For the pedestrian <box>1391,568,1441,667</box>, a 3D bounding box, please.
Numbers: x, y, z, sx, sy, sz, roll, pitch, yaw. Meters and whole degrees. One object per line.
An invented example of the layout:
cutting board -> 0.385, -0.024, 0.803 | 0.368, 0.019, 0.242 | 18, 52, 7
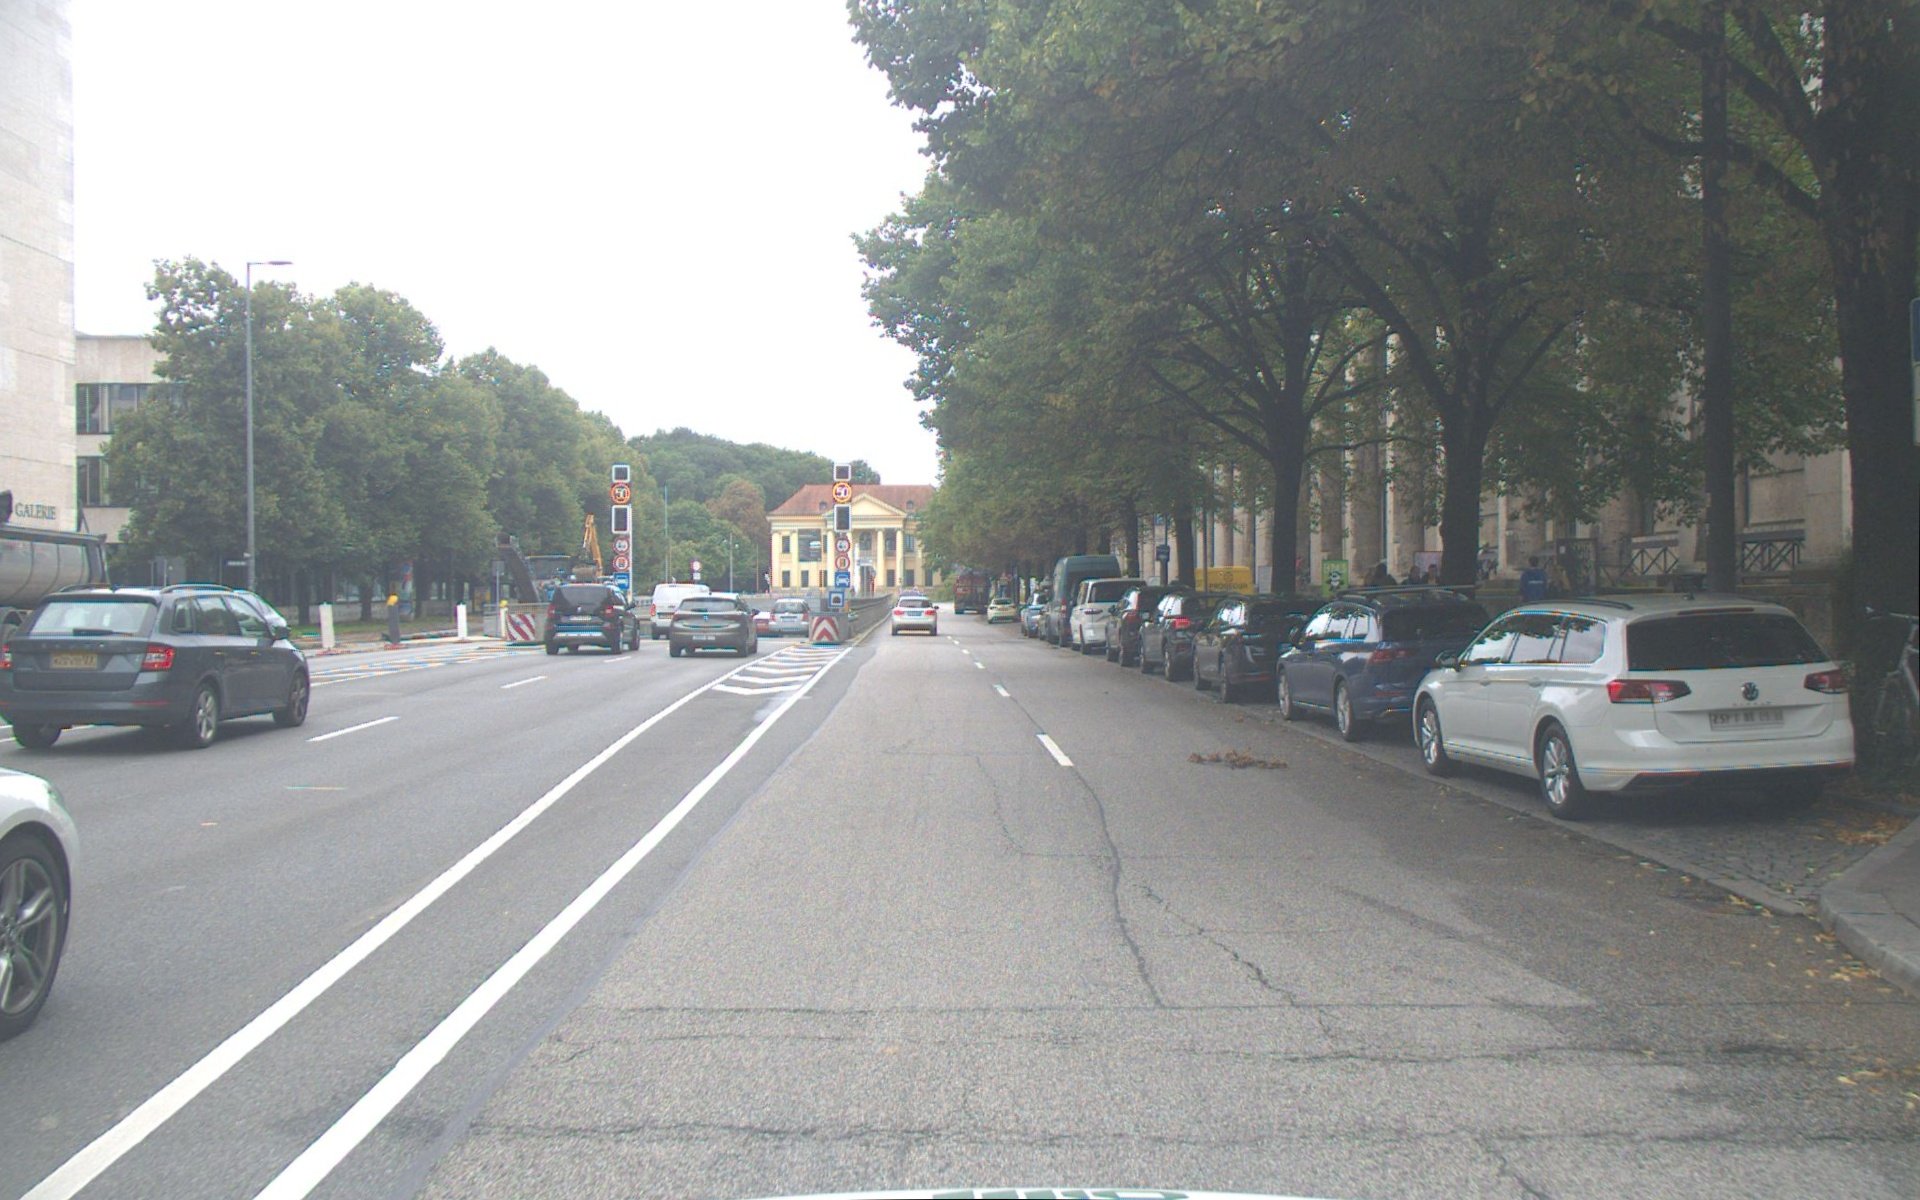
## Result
pedestrian -> 9.117, 0.342, 33.074 | 0.763, 1.943, 0.771 | 1, 0, -1

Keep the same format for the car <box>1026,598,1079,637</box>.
car -> 3.445, 0.636, 62.134 | 1.689, 1.347, 4.027 | -1, 0, -1

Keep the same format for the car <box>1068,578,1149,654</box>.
car -> 3.878, 0.390, 43.699 | 1.689, 1.900, 4.027 | -1, 0, -1

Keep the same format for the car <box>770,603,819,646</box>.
car -> -6.864, 0.979, 68.959 | 1.743, 1.683, 3.998 | 1, 0, -2

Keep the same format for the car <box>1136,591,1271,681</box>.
car -> 4.342, 0.601, 30.057 | 1.785, 1.490, 4.027 | -1, 0, -1

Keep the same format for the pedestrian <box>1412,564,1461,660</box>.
pedestrian -> 9.817, 0.236, 34.082 | 0.763, 1.943, 0.771 | 1, 0, -1

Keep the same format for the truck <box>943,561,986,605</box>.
truck -> 0.329, -1.377, 134.909 | 3.258, 3.426, 8.660 | 1, 0, -1

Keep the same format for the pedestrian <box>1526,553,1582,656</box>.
pedestrian -> 11.372, 0.085, 31.664 | 0.763, 1.943, 0.771 | 1, 0, -1

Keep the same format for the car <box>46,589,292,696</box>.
car -> -12.299, 0.590, 26.140 | 1.840, 1.491, 5.209 | -1, 0, -6

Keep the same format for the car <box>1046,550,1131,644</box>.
car -> 3.851, -0.109, 50.445 | 1.954, 2.689, 4.875 | 1, 0, -3

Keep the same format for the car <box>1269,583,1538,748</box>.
car -> 4.753, 0.629, 18.403 | 1.689, 1.577, 4.585 | -1, 0, -1

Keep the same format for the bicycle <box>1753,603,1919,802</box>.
bicycle -> 6.416, 0.664, 11.291 | 0.616, 1.252, 2.617 | 1, 0, -3

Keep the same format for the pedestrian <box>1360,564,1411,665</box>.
pedestrian -> 8.263, 0.275, 32.118 | 0.763, 1.943, 0.771 | 1, 0, -1

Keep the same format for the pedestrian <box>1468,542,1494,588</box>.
pedestrian -> 15.923, -1.056, 50.564 | 0.555, 1.397, 0.646 | 1, 0, -1

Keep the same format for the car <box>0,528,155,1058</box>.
car -> -3.794, 0.617, 3.810 | 1.757, 1.665, 5.021 | -1, 0, -5

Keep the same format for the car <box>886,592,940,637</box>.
car -> -1.857, 0.530, 64.411 | 1.745, 1.673, 3.994 | 1, 0, -7

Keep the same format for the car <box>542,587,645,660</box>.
car -> -8.830, 0.542, 40.190 | 1.688, 1.665, 4.203 | -1, 0, -2

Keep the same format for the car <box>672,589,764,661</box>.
car -> -5.600, 0.536, 38.663 | 1.676, 1.579, 3.999 | 1, 0, -2

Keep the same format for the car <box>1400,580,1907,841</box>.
car -> 4.910, 0.669, 12.571 | 1.790, 1.577, 4.751 | -1, 0, -1

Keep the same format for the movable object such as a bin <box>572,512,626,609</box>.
movable object such as a bin -> -25.169, -2.723, 115.621 | 2.645, 6.624, 5.175 | 1, 0, -1

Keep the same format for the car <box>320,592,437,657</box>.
car -> -15.495, 0.623, 44.255 | 1.954, 1.624, 3.996 | -1, 0, -5

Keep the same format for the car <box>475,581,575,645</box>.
car -> -11.858, 0.333, 45.321 | 1.954, 1.624, 3.996 | -1, 0, -5

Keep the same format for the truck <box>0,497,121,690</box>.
truck -> -18.676, -0.153, 30.955 | 2.789, 3.415, 8.744 | 1, 0, -10

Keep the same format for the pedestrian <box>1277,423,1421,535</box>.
pedestrian -> 8.040, -2.453, 34.538 | 1.953, 2.049, 3.999 | 1, 0, -1

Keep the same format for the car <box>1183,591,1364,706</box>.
car -> 4.497, 0.636, 24.389 | 1.689, 1.490, 4.775 | -1, 0, -1

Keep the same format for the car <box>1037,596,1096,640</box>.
car -> 3.602, 0.585, 56.474 | 1.689, 1.388, 4.027 | -1, 0, -1

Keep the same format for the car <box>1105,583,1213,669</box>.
car -> 4.196, 0.505, 35.531 | 1.689, 1.694, 4.589 | -1, 0, -1

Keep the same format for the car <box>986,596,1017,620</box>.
car -> 2.421, 0.450, 97.205 | 1.689, 1.347, 4.027 | -1, 0, -1

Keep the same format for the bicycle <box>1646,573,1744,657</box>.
bicycle -> 13.201, 0.260, 29.795 | 0.685, 1.440, 2.298 | -1, 0, -1

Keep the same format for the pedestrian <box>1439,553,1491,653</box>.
pedestrian -> 9.994, 0.059, 32.739 | 0.763, 1.943, 0.771 | 1, 0, -1

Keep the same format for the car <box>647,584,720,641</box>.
car -> -9.630, 0.412, 57.885 | 1.860, 1.880, 4.954 | -1, 0, -2

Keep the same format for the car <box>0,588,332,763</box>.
car -> -7.769, 0.641, 16.254 | 1.757, 1.473, 4.272 | -1, 0, -3
